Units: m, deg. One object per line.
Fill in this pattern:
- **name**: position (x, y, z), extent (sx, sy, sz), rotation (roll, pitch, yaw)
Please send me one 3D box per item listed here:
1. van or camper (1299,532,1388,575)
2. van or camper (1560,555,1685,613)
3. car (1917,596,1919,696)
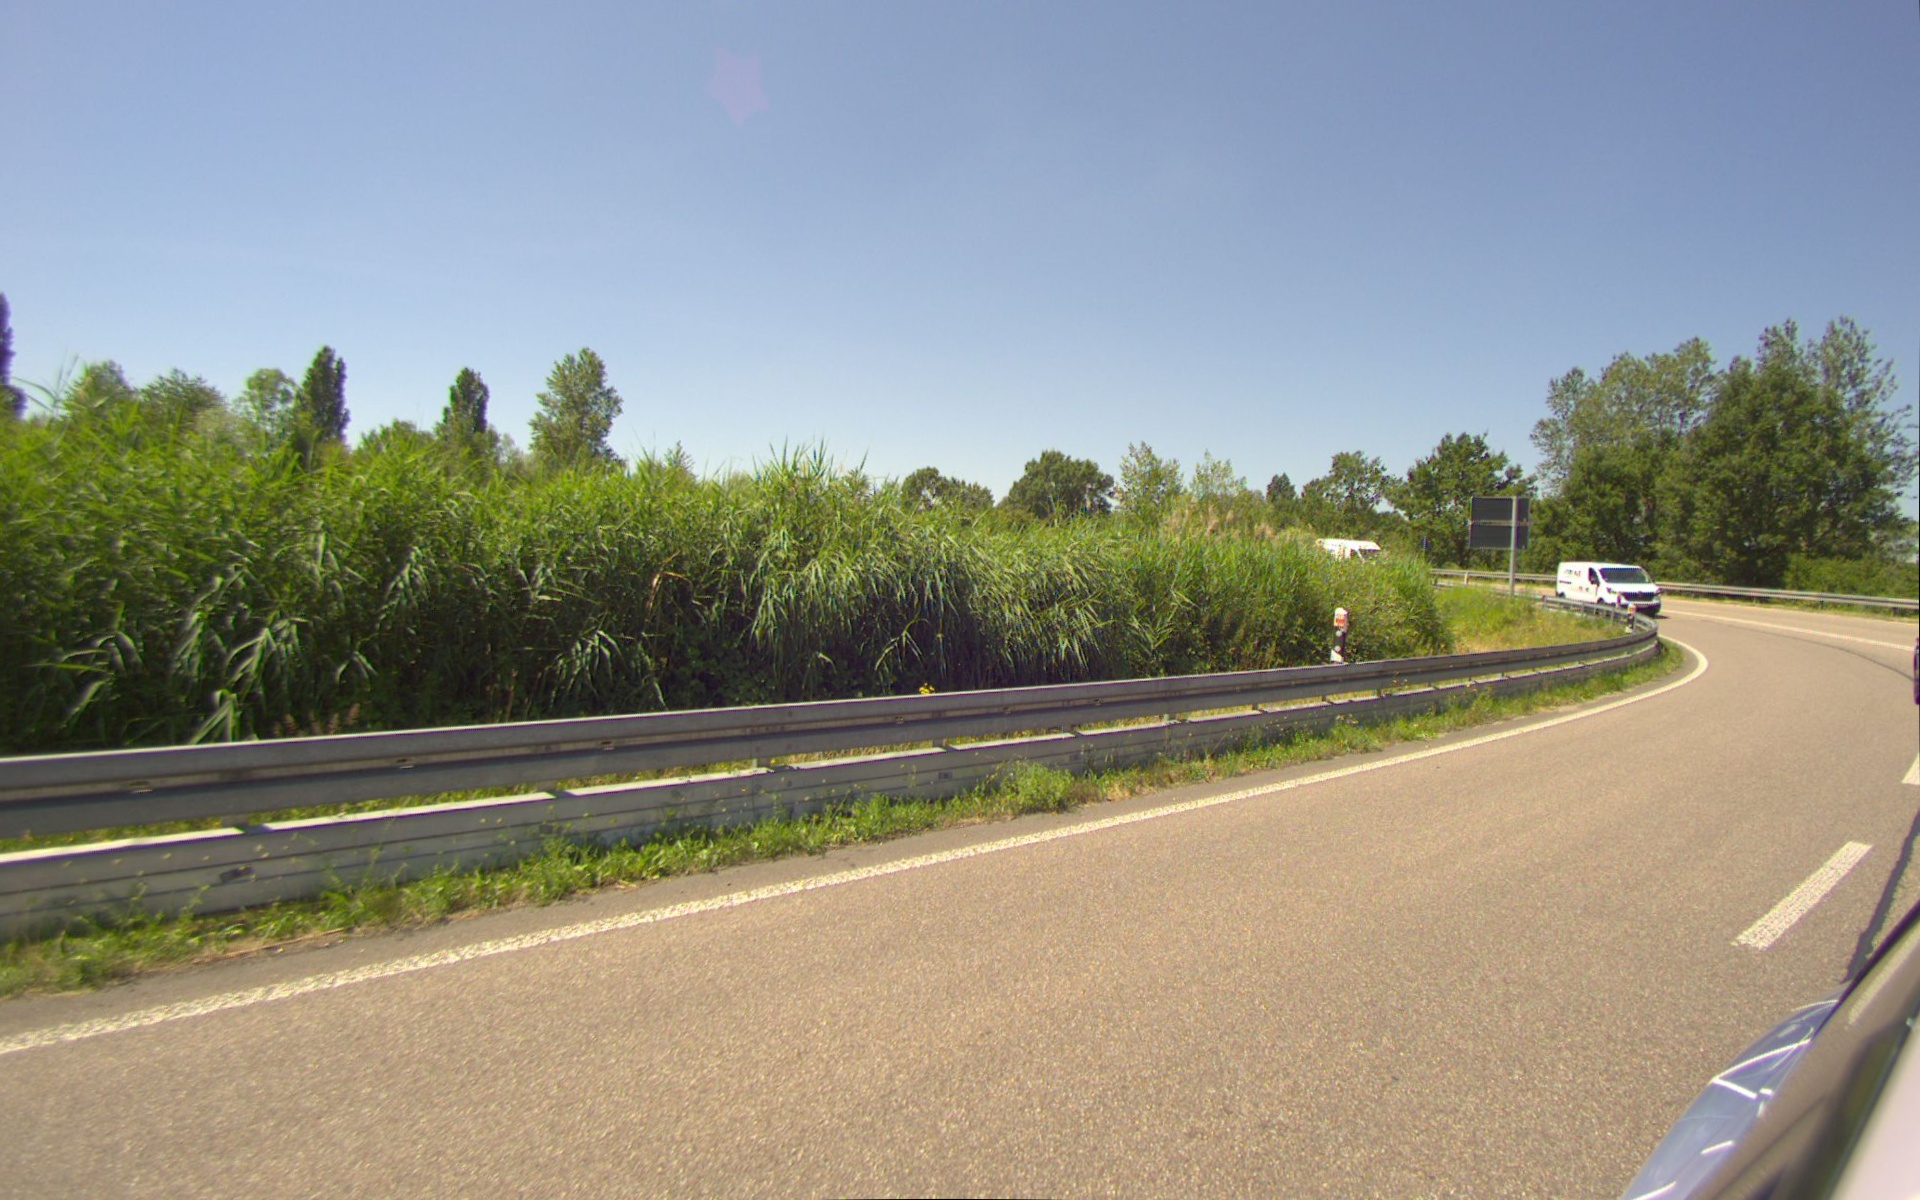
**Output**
- **van or camper**: position (24.742, -3.034, 65.555), extent (2.032, 2.585, 6.063), rotation (-2, 3, -17)
- **van or camper**: position (25.915, -0.694, 39.871), extent (1.977, 2.056, 5.438), rotation (0, 3, 9)
- **car**: position (13.471, 0.711, 12.618), extent (1.835, 1.448, 4.470), rotation (2, 2, 39)
